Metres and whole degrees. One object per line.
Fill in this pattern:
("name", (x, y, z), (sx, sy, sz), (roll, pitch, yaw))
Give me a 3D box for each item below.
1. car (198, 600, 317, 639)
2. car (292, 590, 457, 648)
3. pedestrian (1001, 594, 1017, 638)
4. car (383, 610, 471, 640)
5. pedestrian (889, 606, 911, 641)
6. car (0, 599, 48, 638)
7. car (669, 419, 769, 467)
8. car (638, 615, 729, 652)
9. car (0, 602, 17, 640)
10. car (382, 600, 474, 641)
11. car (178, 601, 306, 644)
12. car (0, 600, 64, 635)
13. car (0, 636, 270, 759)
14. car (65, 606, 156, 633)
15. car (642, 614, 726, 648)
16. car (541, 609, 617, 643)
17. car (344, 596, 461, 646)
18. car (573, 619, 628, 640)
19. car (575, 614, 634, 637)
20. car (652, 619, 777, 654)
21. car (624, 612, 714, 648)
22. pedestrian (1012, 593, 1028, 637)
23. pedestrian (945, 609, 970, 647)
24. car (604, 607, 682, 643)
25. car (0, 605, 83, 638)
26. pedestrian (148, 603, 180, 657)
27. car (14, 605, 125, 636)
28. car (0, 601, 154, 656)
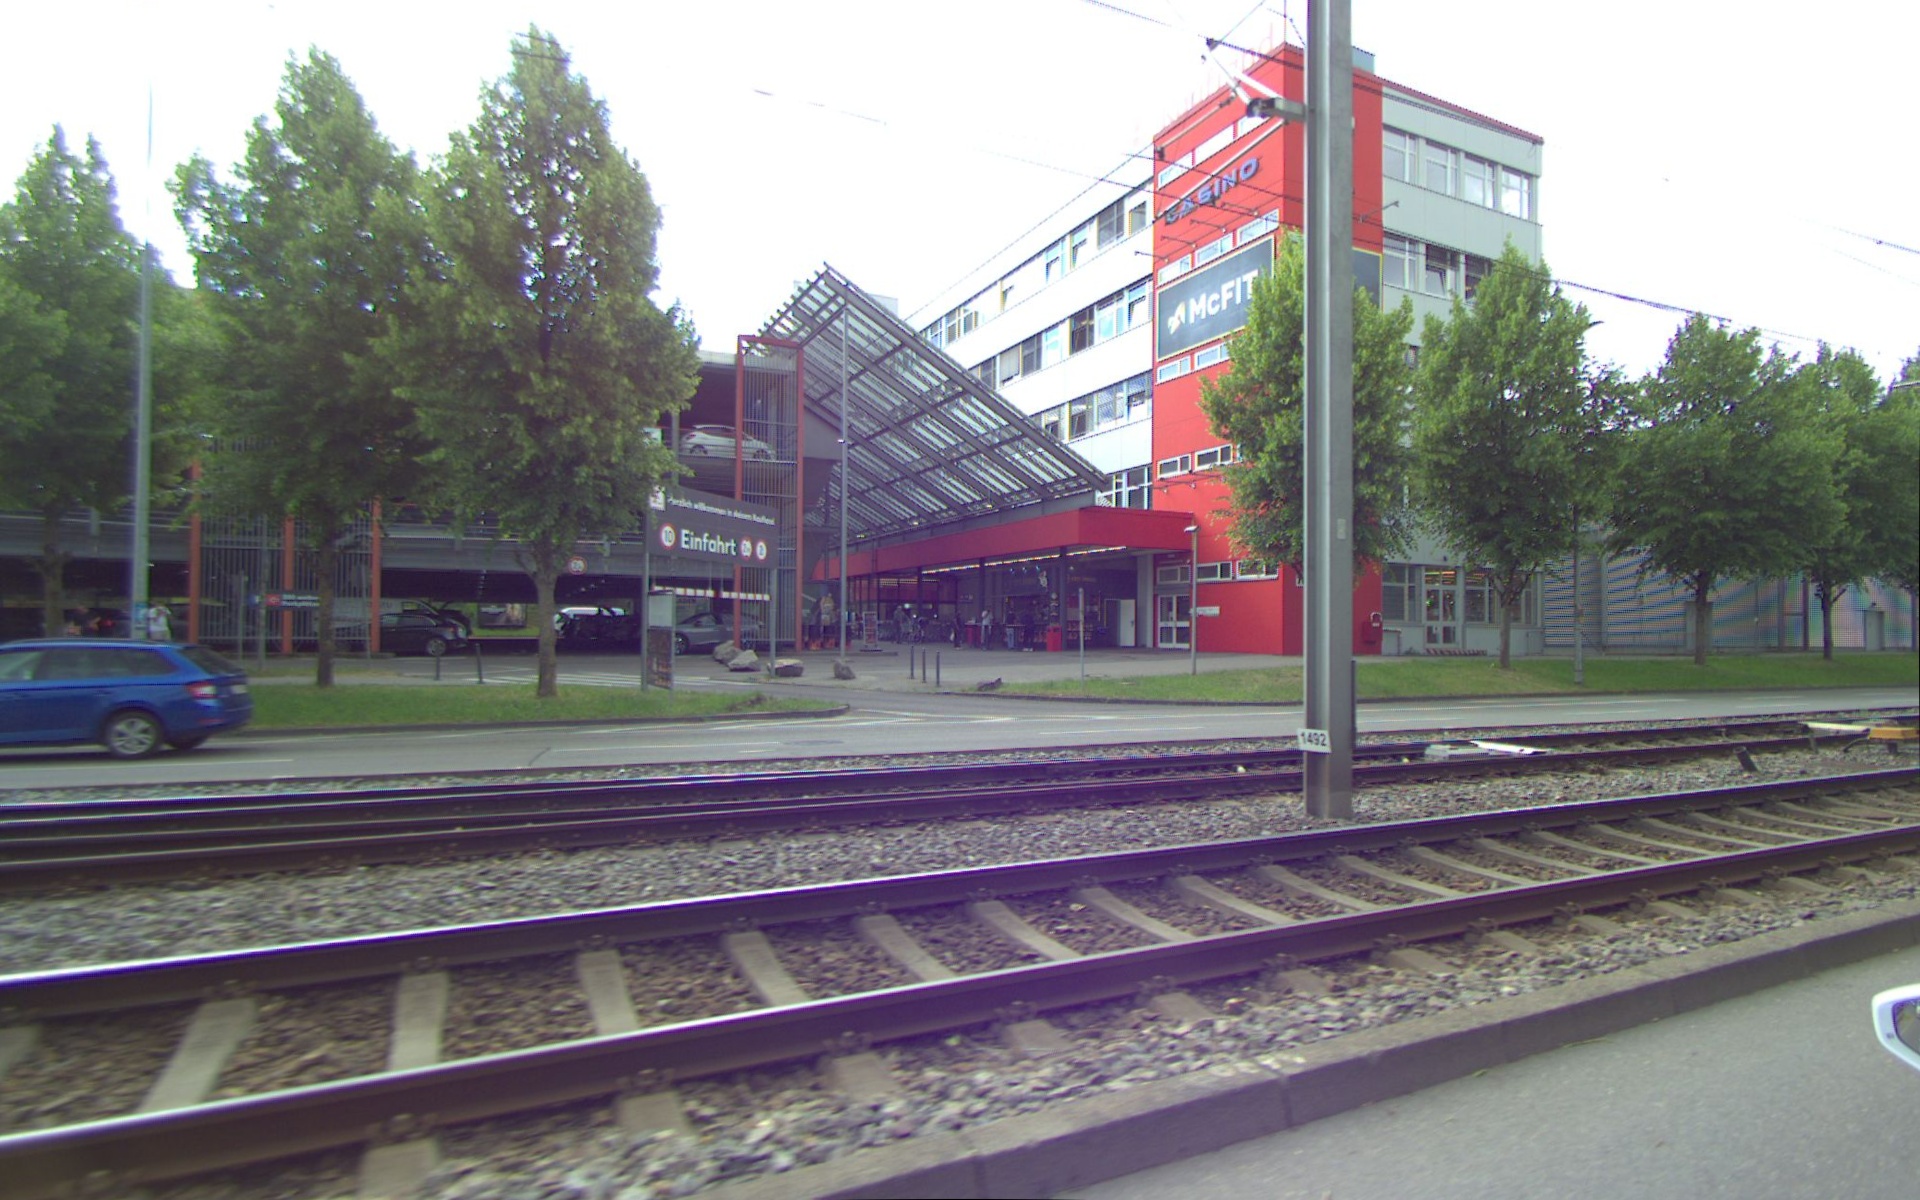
("car", (-27.776, 0.772, 39.853), (3.628, 1.437, 1.668), (0, -3, -27))
("car", (-20.312, 0.701, 35.106), (4.806, 1.913, 1.667), (2, -1, -27))
("pedestrian", (2.325, 0.765, 47.503), (0.546, 2.040, 0.599), (2, -3, -25))
("car", (-27.811, 1.325, 52.475), (3.952, 1.407, 1.781), (3, -2, -29))
("pedestrian", (-2.954, 1.169, 49.620), (0.855, 1.717, 0.735), (2, -3, -27))
("car", (-40.934, 0.765, 41.849), (3.948, 1.596, 1.808), (2, -4, -27))
("car", (-9.207, -5.965, 38.365), (3.462, 1.242, 1.449), (2, -2, -28))
("car", (-12.324, 1.532, 44.758), (3.597, 1.572, 1.760), (2, -4, -29))
("car", (-39.992, 0.807, 39.407), (3.948, 1.461, 1.808), (2, -4, -27))
("car", (-26.764, 1.044, 50.574), (3.952, 1.886, 1.781), (3, -2, -29))
("car", (-26.774, 0.854, 37.572), (3.628, 1.495, 1.667), (2, -1, -27))
("car", (-41.962, 0.746, 43.758), (3.948, 1.461, 1.808), (2, -4, -27))
("car", (-11.176, 1.193, 12.755), (3.665, 1.411, 1.656), (1, -1, -22))
("car", (-48.462, 1.102, 57.383), (3.628, 1.457, 1.667), (2, -1, -27))
("car", (-13.365, 1.522, 48.634), (3.631, 1.572, 1.666), (2, -4, -29))
("car", (-19.938, 1.396, 52.606), (3.578, 1.677, 1.642), (2, -4, -27))
("car", (-22.099, 0.852, 39.922), (3.951, 1.912, 1.780), (1, -1, -29))
("car", (-26.533, 2.203, 74.214), (3.628, 1.495, 1.667), (2, -1, -27))
("car", (-24.201, 1.737, 68.431), (3.628, 1.495, 1.667), (2, -1, -27))
("car", (-9.325, 1.398, 38.223), (4.393, 1.242, 1.449), (2, -2, -28))
("car", (-13.511, 1.423, 46.708), (3.765, 1.572, 1.666), (2, -4, -29))
("pedestrian", (2.859, 0.731, 47.761), (0.546, 2.040, 0.599), (2, -3, -25))
("pedestrian", (-0.113, 1.278, 45.436), (0.855, 1.717, 0.735), (2, -3, -27))
("car", (-16.177, 1.278, 51.230), (3.578, 1.736, 1.655), (1, -1, -27))
("car", (-43.250, 0.974, 46.238), (3.948, 1.461, 1.808), (1, -1, -27))
("pedestrian", (-22.587, 0.842, 28.525), (0.606, 1.526, 0.420), (1, -1, -26))
("car", (-46.745, 1.093, 52.815), (3.948, 1.461, 1.808), (2, -4, -27))
("car", (-25.315, 0.805, 28.377), (3.628, 1.495, 1.667), (2, -1, -27))
